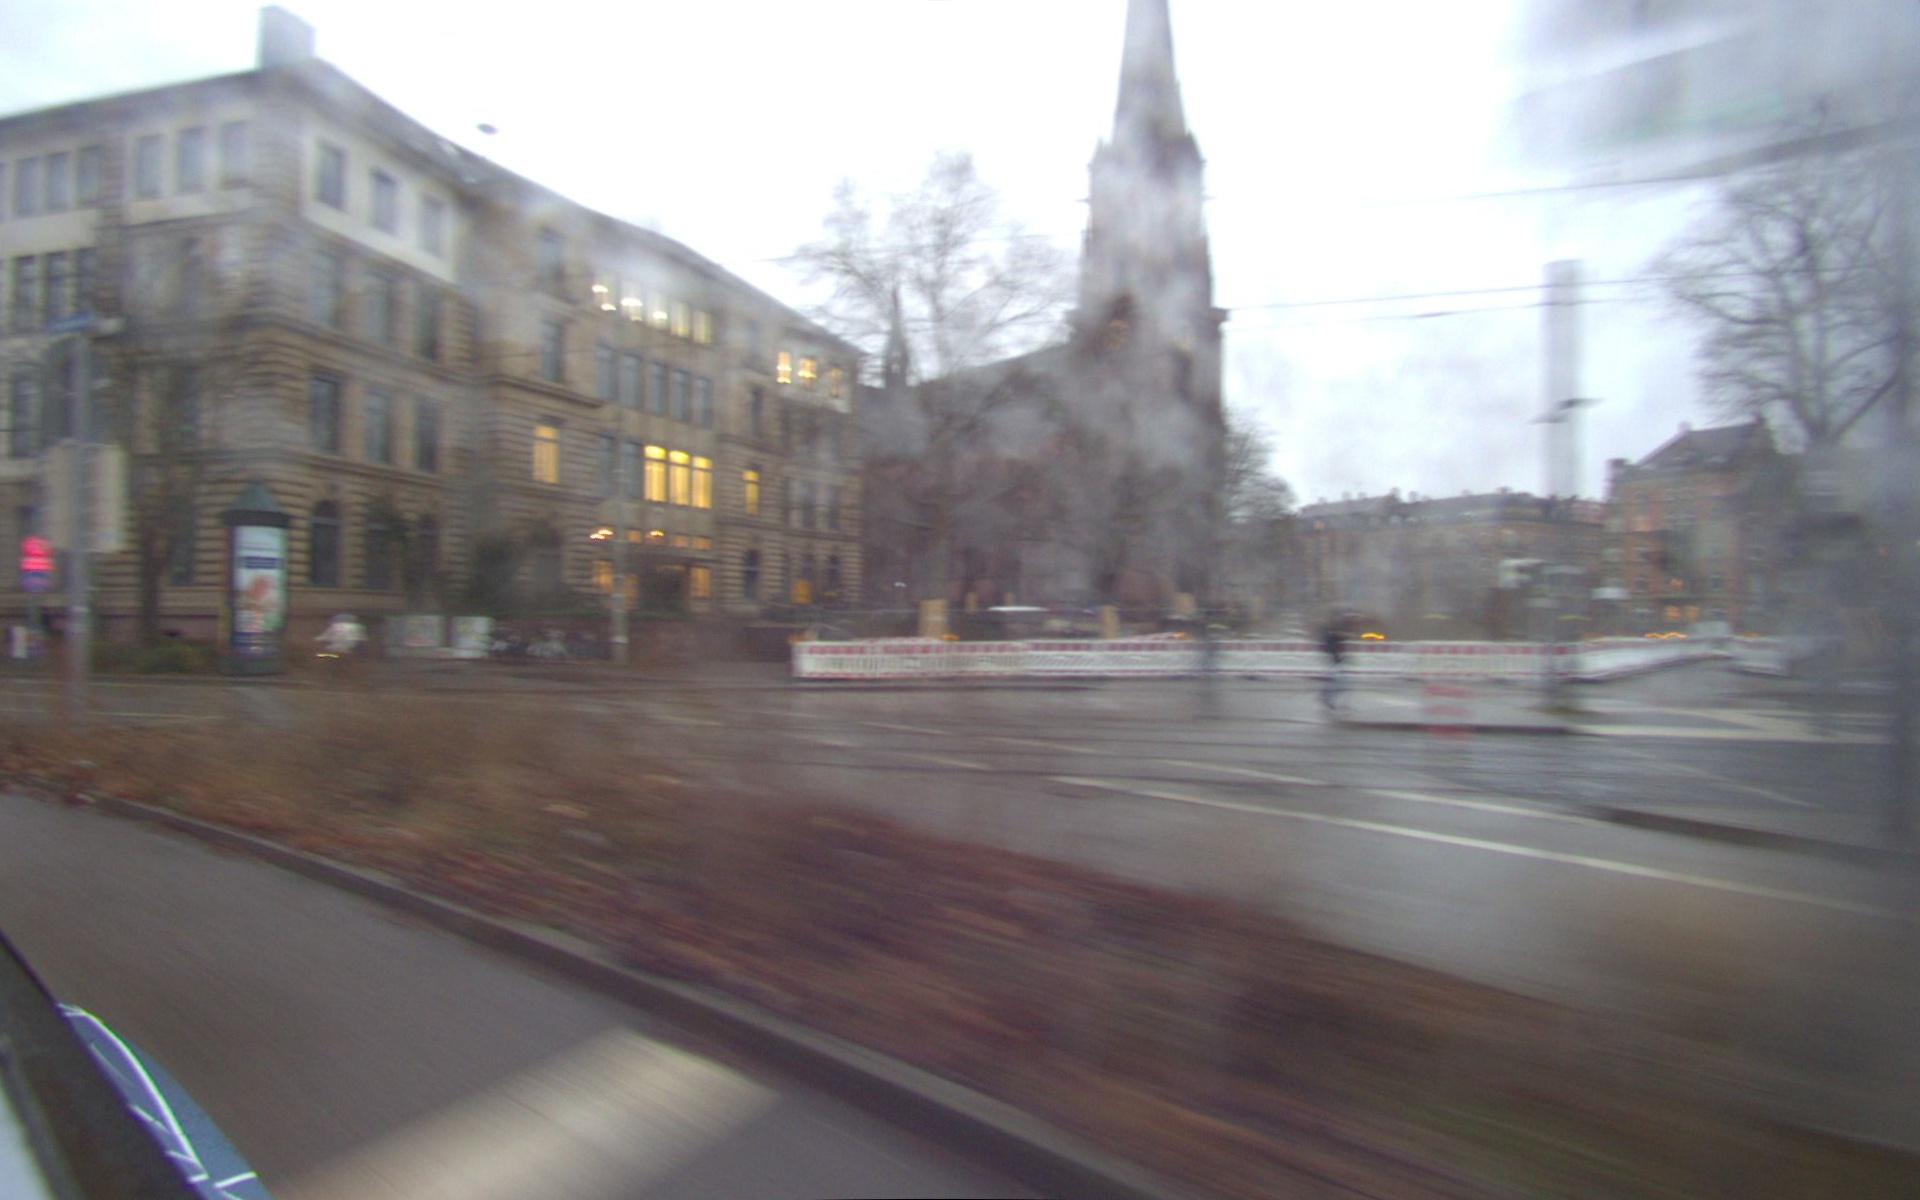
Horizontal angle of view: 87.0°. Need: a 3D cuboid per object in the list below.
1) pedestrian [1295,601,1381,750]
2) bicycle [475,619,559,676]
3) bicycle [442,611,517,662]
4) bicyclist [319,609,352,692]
[{"bbox_3d":[6.385,1.223,17.107,1.065,2.388,0.982,1,1,45],"label":"pedestrian"},{"bbox_3d":[-13.981,1.465,31.962,2.387,1.701,0.716,-1,1,-24],"label":"bicycle"},{"bbox_3d":[-17.027,1.281,35.927,2.387,1.701,0.716,-1,1,-24],"label":"bicycle"},{"bbox_3d":[-13.828,1.107,22.413,0.601,1.781,0.591,-1,1,-32],"label":"bicyclist"}]
